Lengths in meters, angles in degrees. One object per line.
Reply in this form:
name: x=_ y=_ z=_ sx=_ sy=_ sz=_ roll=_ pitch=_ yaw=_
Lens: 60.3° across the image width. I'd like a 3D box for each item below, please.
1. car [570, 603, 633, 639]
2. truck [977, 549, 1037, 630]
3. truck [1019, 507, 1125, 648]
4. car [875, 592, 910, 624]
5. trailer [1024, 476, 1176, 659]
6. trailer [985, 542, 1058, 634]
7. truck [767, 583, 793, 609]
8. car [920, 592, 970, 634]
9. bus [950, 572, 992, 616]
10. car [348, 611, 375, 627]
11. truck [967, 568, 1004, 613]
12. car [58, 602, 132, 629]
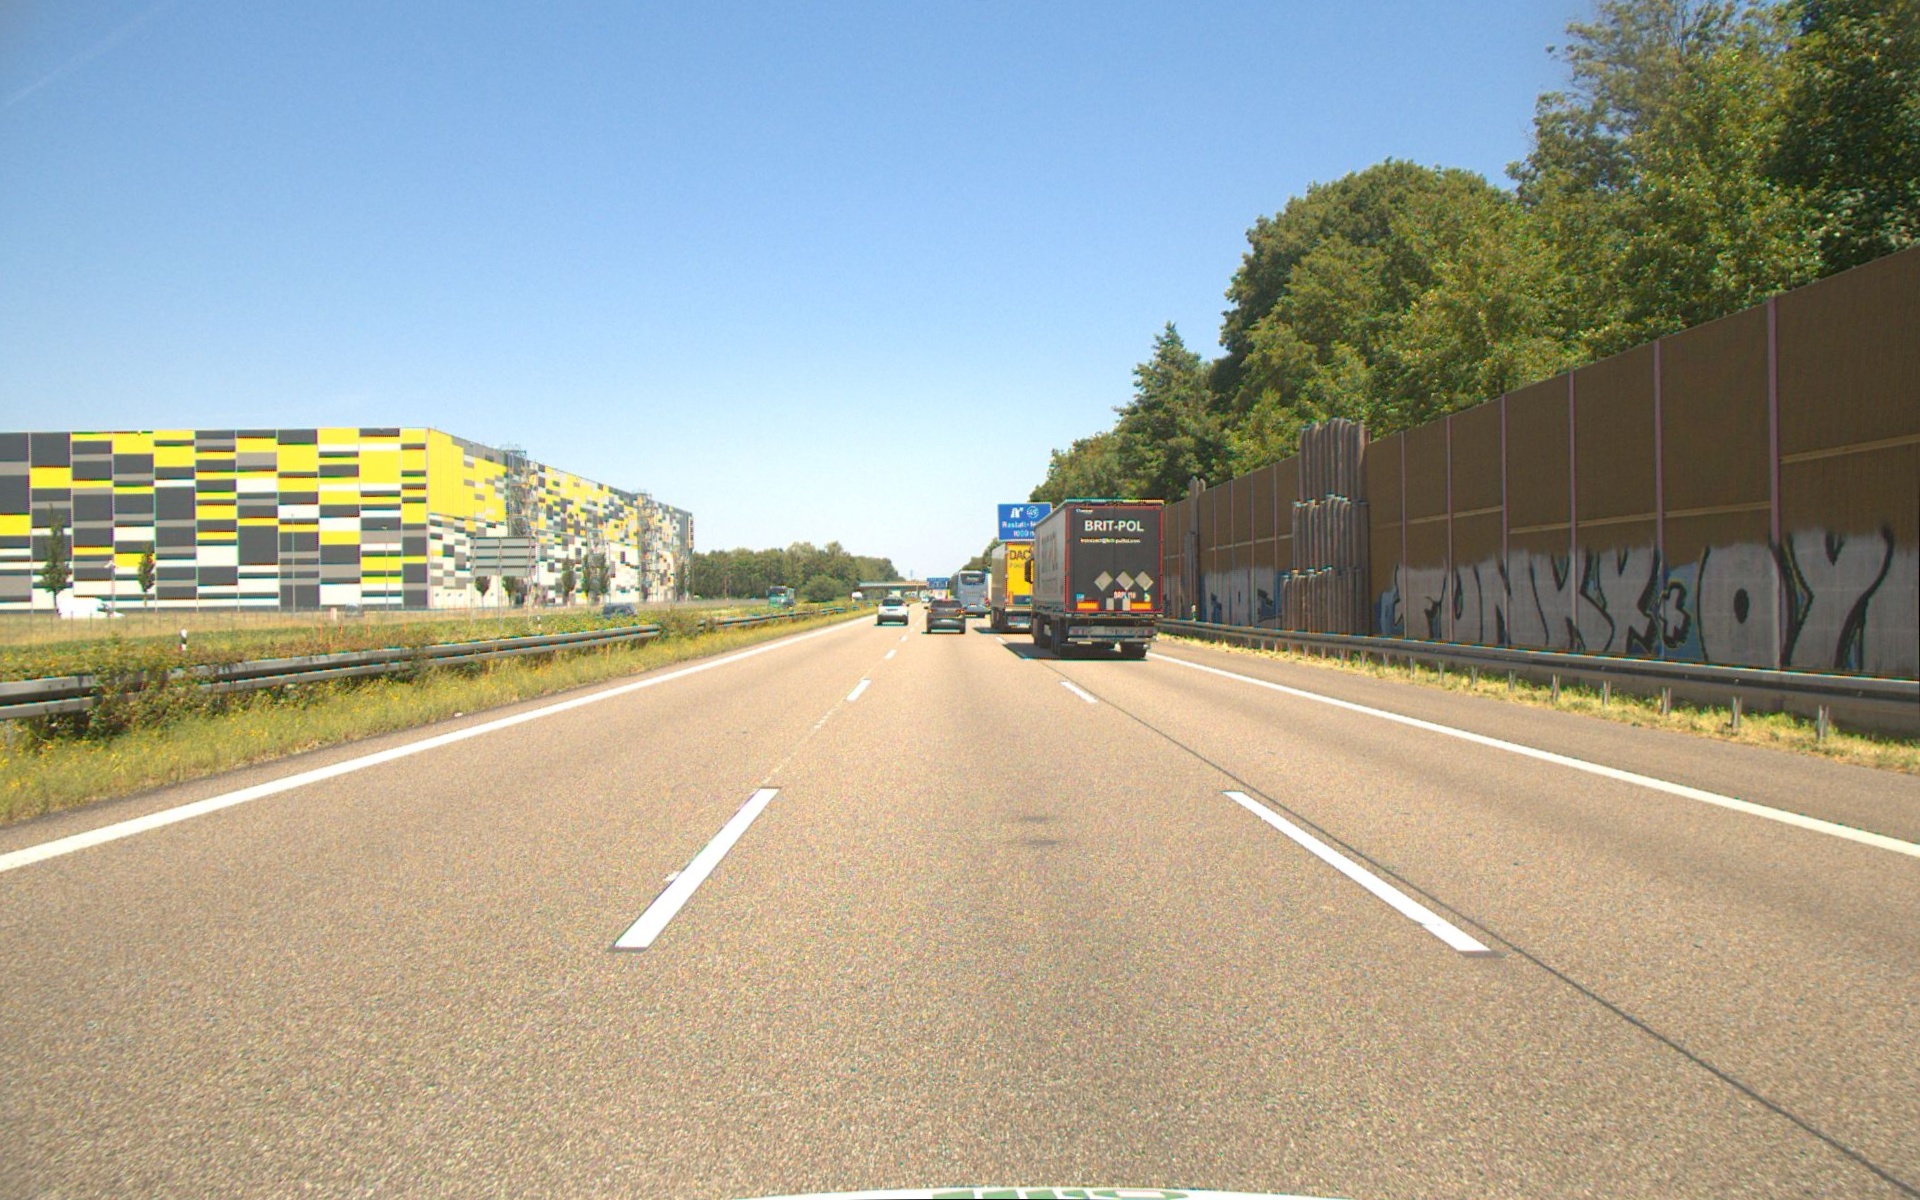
car: x=-17.890 y=1.058 z=82.849 sx=1.953 sy=1.709 sz=5.551 roll=-2 pitch=-1 yaw=0
truck: x=2.368 y=-0.530 z=86.190 sx=2.756 sy=4.076 sz=6.643 roll=0 pitch=0 yaw=-1
truck: x=3.708 y=-0.717 z=56.276 sx=3.025 sy=4.518 sz=6.050 roll=0 pitch=0 yaw=-2
car: x=-3.830 y=0.443 z=94.542 sx=1.953 sy=1.758 sz=4.129 roll=0 pitch=0 yaw=-2
trailer: x=3.811 y=-0.789 z=48.946 sx=3.043 sy=4.585 sz=14.893 roll=0 pitch=0 yaw=-1
trailer: x=2.803 y=-0.559 z=78.569 sx=2.777 sy=4.023 sz=11.681 roll=0 pitch=0 yaw=-1
truck: x=-23.032 y=-0.492 z=211.597 sx=2.643 sy=3.307 sz=5.837 roll=-1 pitch=0 yaw=-1
car: x=-0.699 y=0.558 z=74.576 sx=2.171 sy=1.821 sz=5.392 roll=-1 pitch=0 yaw=-1
bus: x=0.829 y=-0.489 z=133.513 sx=3.001 sy=3.385 sz=8.270 roll=-1 pitch=0 yaw=-2
car: x=-67.615 y=2.131 z=187.019 sx=1.650 sy=1.757 sz=4.110 roll=-1 pitch=0 yaw=-2
truck: x=2.409 y=-0.889 z=161.776 sx=3.353 sy=4.198 sz=9.564 roll=-1 pitch=0 yaw=0
car: x=-75.180 y=1.312 z=143.804 sx=5.541 sy=2.216 sz=2.084 roll=-1 pitch=0 yaw=-34
